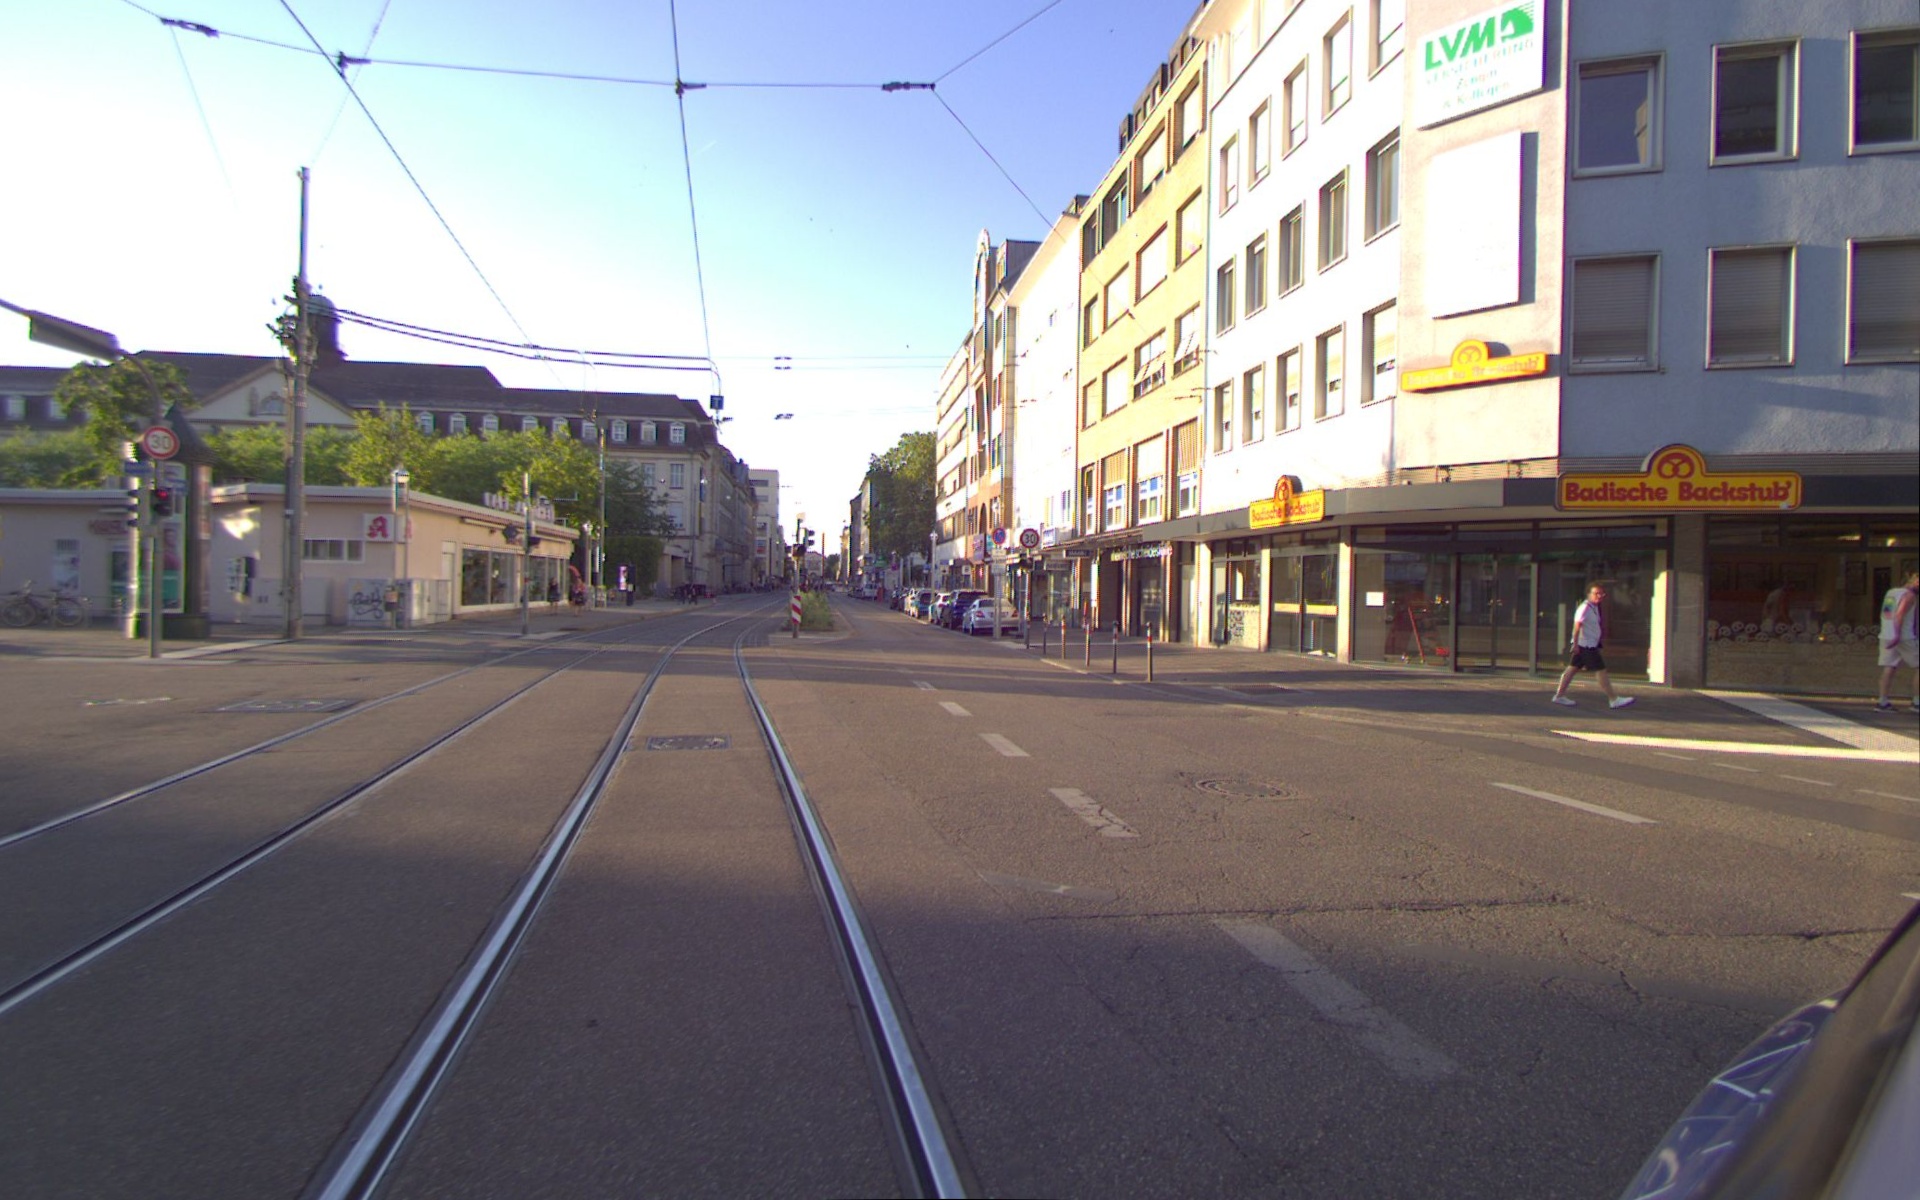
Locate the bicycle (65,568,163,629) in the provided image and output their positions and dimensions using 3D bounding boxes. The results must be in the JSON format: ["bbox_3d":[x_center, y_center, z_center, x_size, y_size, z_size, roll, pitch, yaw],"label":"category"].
[{"bbox_3d":[-22.133,-0.050,26.517,0.474,1.542,1.977,1,0,22],"label":"bicycle"}]

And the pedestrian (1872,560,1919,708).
[{"bbox_3d":[12.676,0.430,13.292,0.991,1.910,0.794,1,2,44],"label":"pedestrian"}]

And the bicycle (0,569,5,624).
[{"bbox_3d":[-27.851,-0.095,27.856,0.671,1.542,2.218,1,0,17],"label":"bicycle"}]

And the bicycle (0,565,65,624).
[{"bbox_3d":[-25.417,-0.162,27.041,0.671,1.542,2.218,1,0,17],"label":"bicycle"}]

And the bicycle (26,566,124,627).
[{"bbox_3d":[-23.332,-0.092,26.730,0.472,1.542,1.981,1,0,17],"label":"bicycle"}]

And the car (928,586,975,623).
[{"bbox_3d":[-0.446,0.166,47.822,1.812,1.656,4.005,1,0,-6],"label":"car"}]

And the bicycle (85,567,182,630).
[{"bbox_3d":[-21.099,-0.044,25.883,0.472,1.542,1.982,1,0,16],"label":"bicycle"}]

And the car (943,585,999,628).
[{"bbox_3d":[0.393,0.241,41.302,1.812,1.656,4.005,1,0,-6],"label":"car"}]

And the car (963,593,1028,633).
[{"bbox_3d":[1.210,0.442,36.677,1.812,1.311,4.005,1,1,-6],"label":"car"}]

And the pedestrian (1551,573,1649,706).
[{"bbox_3d":[8.769,0.498,13.878,0.991,1.747,0.794,1,2,44],"label":"pedestrian"}]

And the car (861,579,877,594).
[{"bbox_3d":[-10.731,-1.592,119.459,1.812,1.656,4.005,1,0,-6],"label":"car"}]

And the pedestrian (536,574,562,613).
[{"bbox_3d":[-17.513,-0.282,43.106,0.790,1.632,0.995,0,1,-8],"label":"pedestrian"}]

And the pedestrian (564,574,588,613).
[{"bbox_3d":[-16.385,-0.274,43.196,0.790,1.632,0.995,0,1,-8],"label":"pedestrian"}]

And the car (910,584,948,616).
[{"bbox_3d":[-1.729,-0.005,55.179,1.812,1.656,4.005,1,0,-6],"label":"car"}]

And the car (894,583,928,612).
[{"bbox_3d":[-2.936,-0.185,60.484,1.812,1.656,4.005,1,0,-6],"label":"car"}]

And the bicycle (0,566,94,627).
[{"bbox_3d":[-24.336,-0.099,26.937,0.472,1.542,1.981,1,0,17],"label":"bicycle"}]
